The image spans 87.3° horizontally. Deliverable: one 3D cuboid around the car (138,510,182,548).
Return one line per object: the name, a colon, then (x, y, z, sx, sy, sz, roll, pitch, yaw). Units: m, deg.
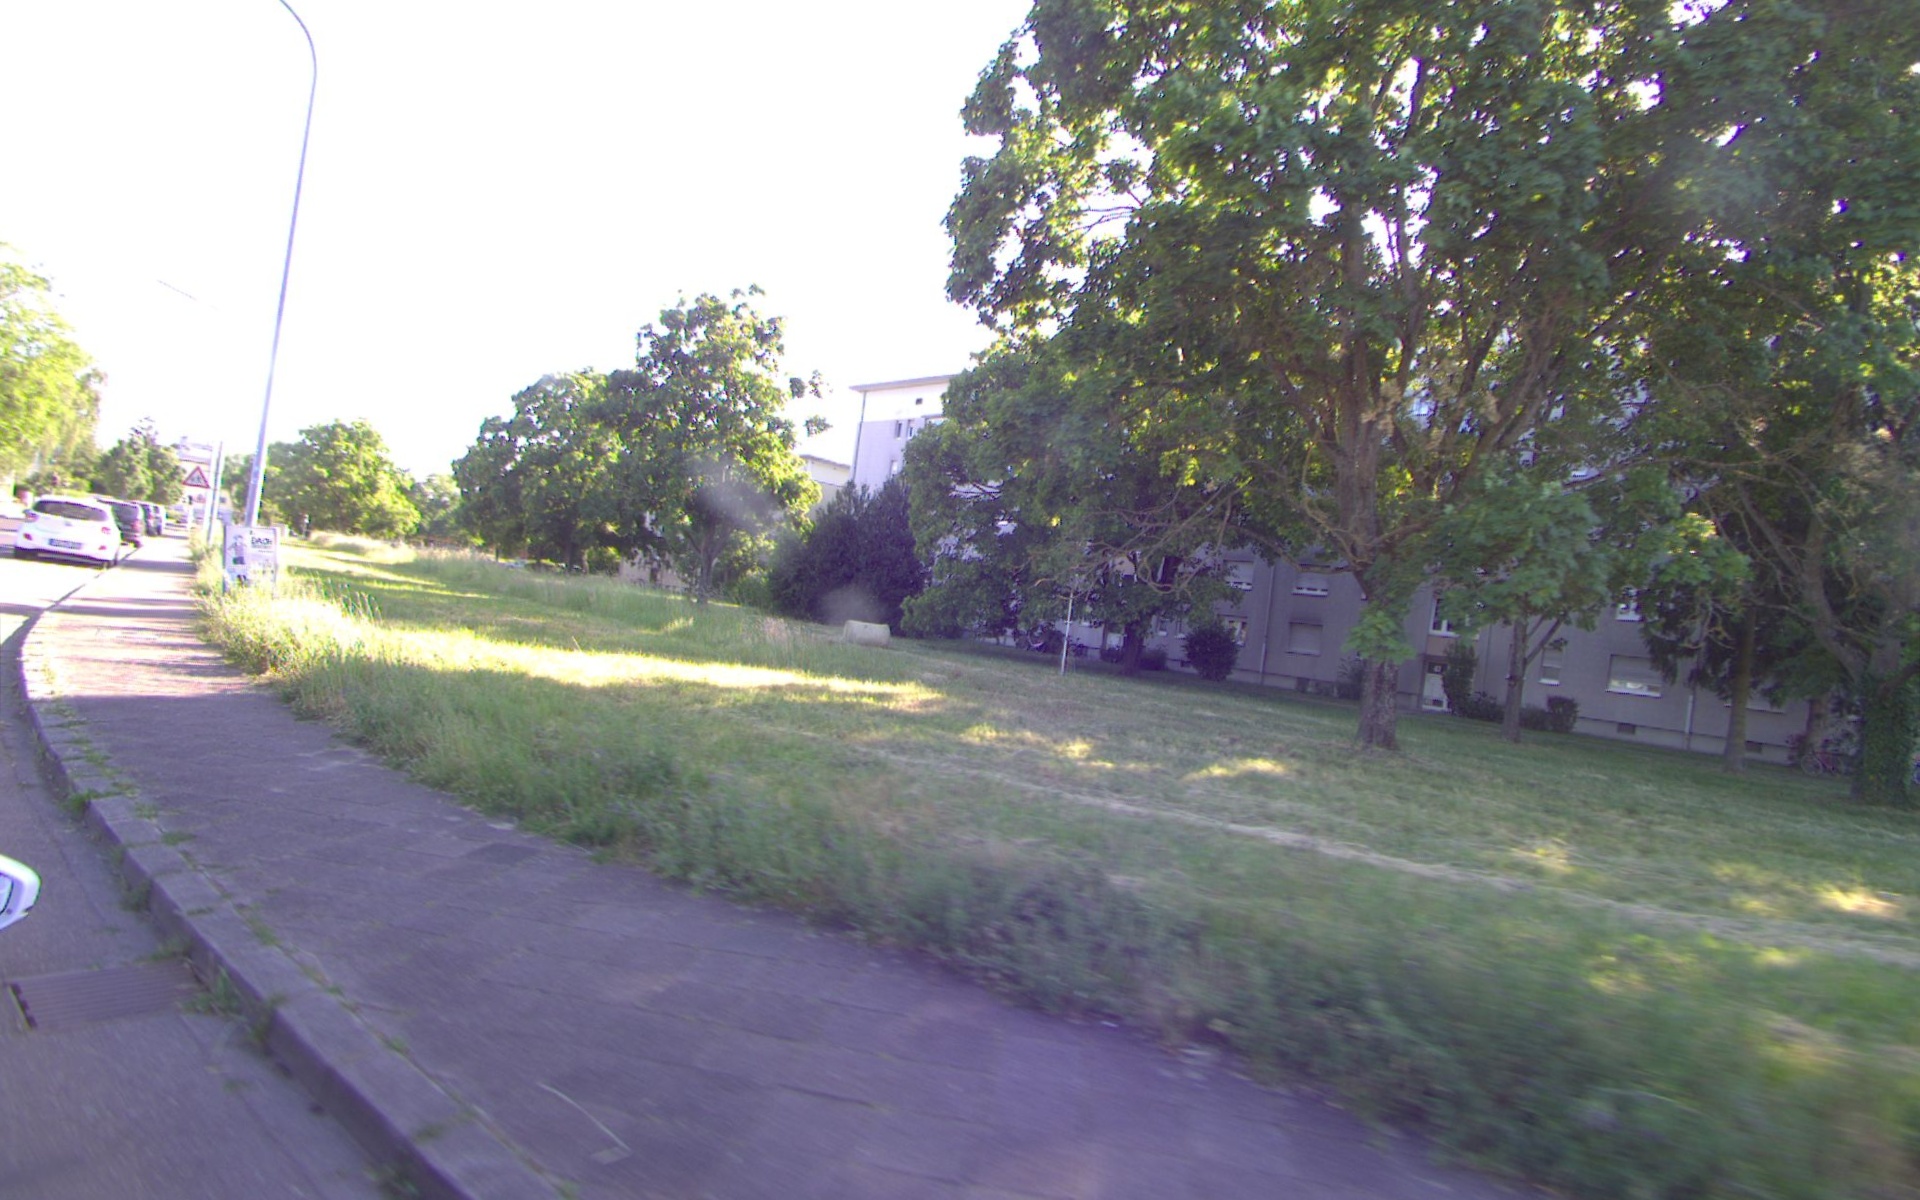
car: (-45.372, -4.034, 57.097, 1.692, 1.779, 3.809, 10, -2, -39)

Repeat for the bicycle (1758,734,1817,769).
bicycle: (24.183, 4.432, 29.386, 1.656, 0.856, 0.511, 7, -2, -19)

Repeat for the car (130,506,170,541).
car: (-51.909, -4.939, 64.520, 1.692, 1.872, 3.809, 10, -2, -39)

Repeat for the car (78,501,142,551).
car: (-32.893, -2.877, 39.000, 1.691, 1.630, 3.956, 7, 0, -39)

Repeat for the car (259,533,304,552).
car: (-72.389, -6.097, 107.374, 3.666, 1.457, 1.692, 7, -3, -23)

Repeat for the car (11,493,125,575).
car: (-20.700, -1.536, 23.419, 1.717, 1.496, 3.698, 10, -3, -41)
